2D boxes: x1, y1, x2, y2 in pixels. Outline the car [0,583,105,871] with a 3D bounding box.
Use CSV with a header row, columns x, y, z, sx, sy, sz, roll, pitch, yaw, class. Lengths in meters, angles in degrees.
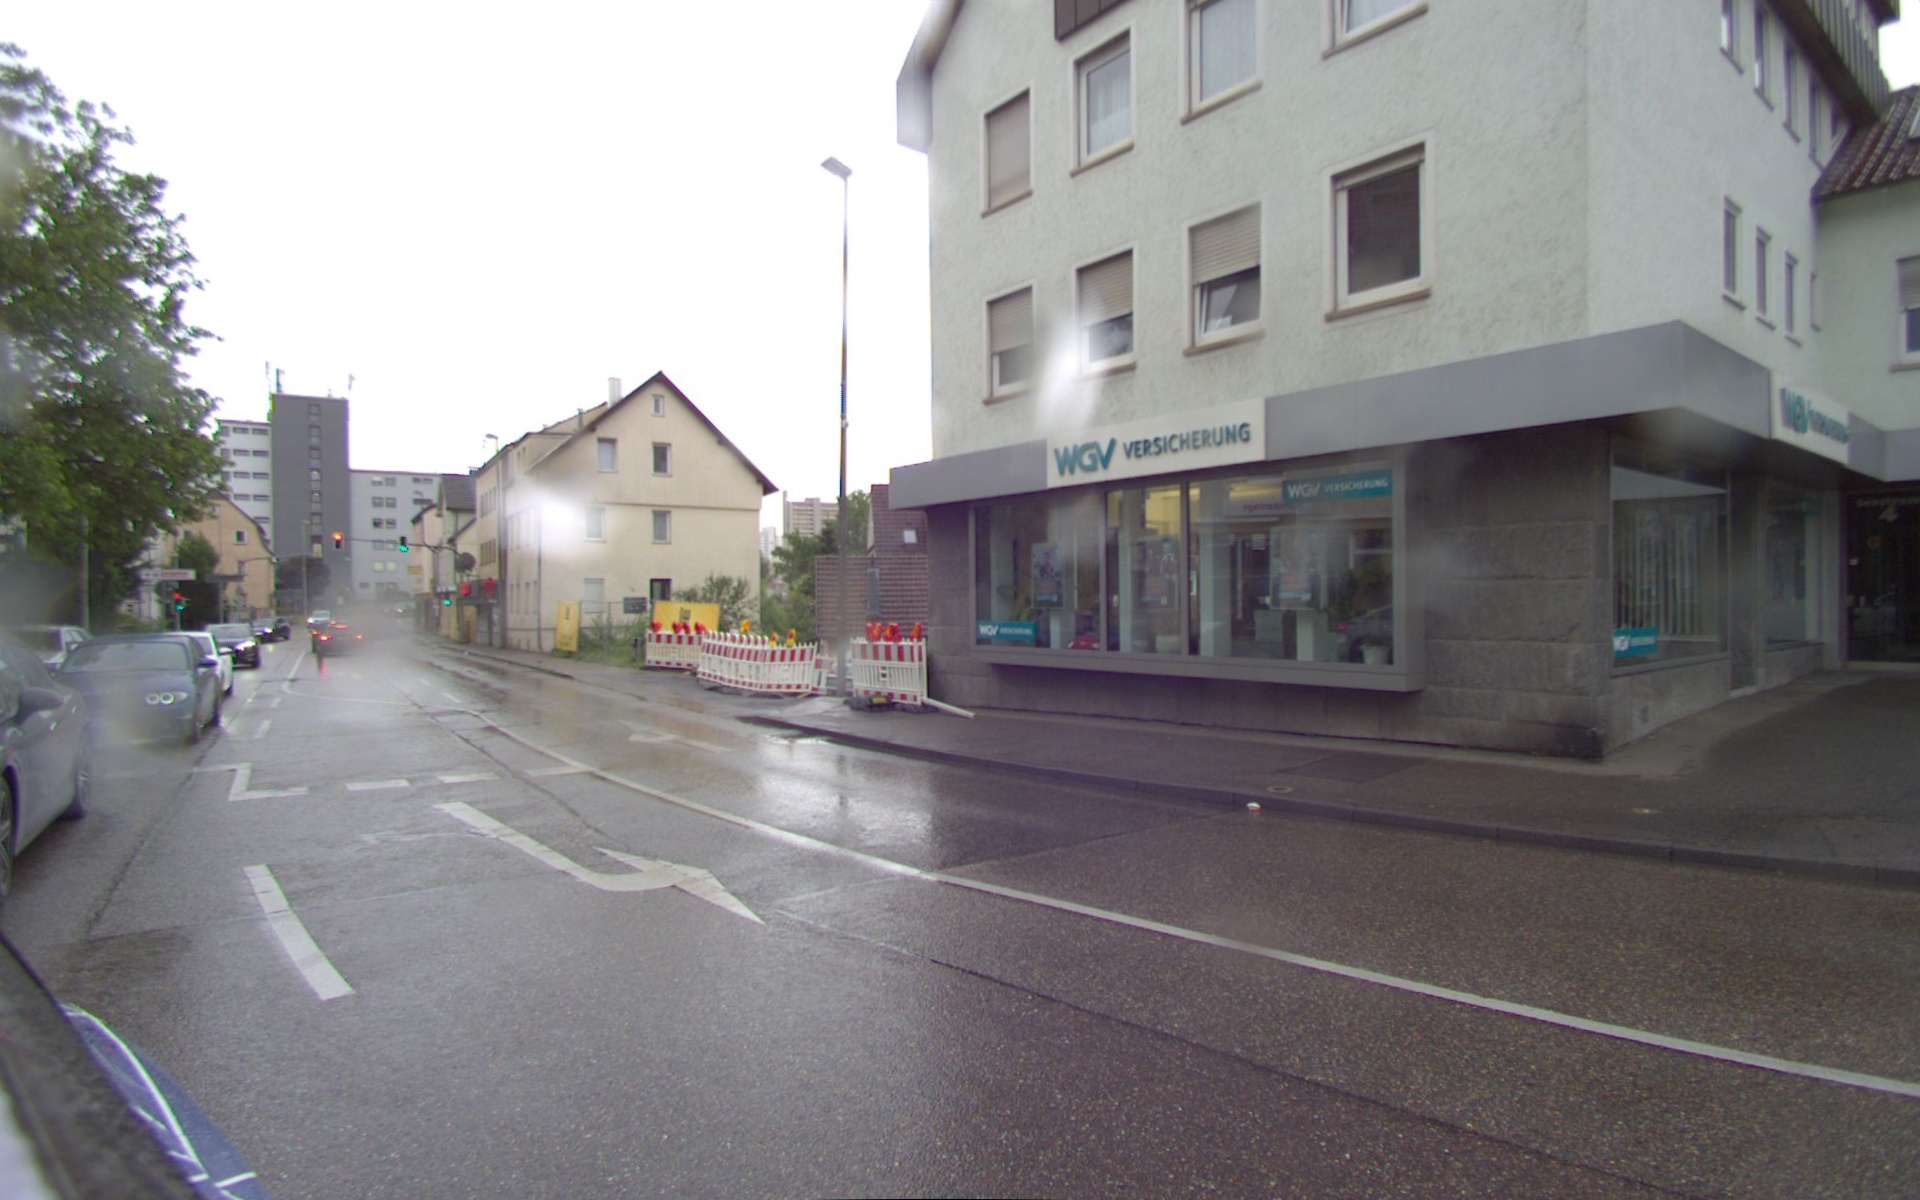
x,y,z,sx,sy,sz,roll,pitch,yaw,class
-6.494,0.736,5.807,1.791,1.583,4.287,-1,-1,-32,car
